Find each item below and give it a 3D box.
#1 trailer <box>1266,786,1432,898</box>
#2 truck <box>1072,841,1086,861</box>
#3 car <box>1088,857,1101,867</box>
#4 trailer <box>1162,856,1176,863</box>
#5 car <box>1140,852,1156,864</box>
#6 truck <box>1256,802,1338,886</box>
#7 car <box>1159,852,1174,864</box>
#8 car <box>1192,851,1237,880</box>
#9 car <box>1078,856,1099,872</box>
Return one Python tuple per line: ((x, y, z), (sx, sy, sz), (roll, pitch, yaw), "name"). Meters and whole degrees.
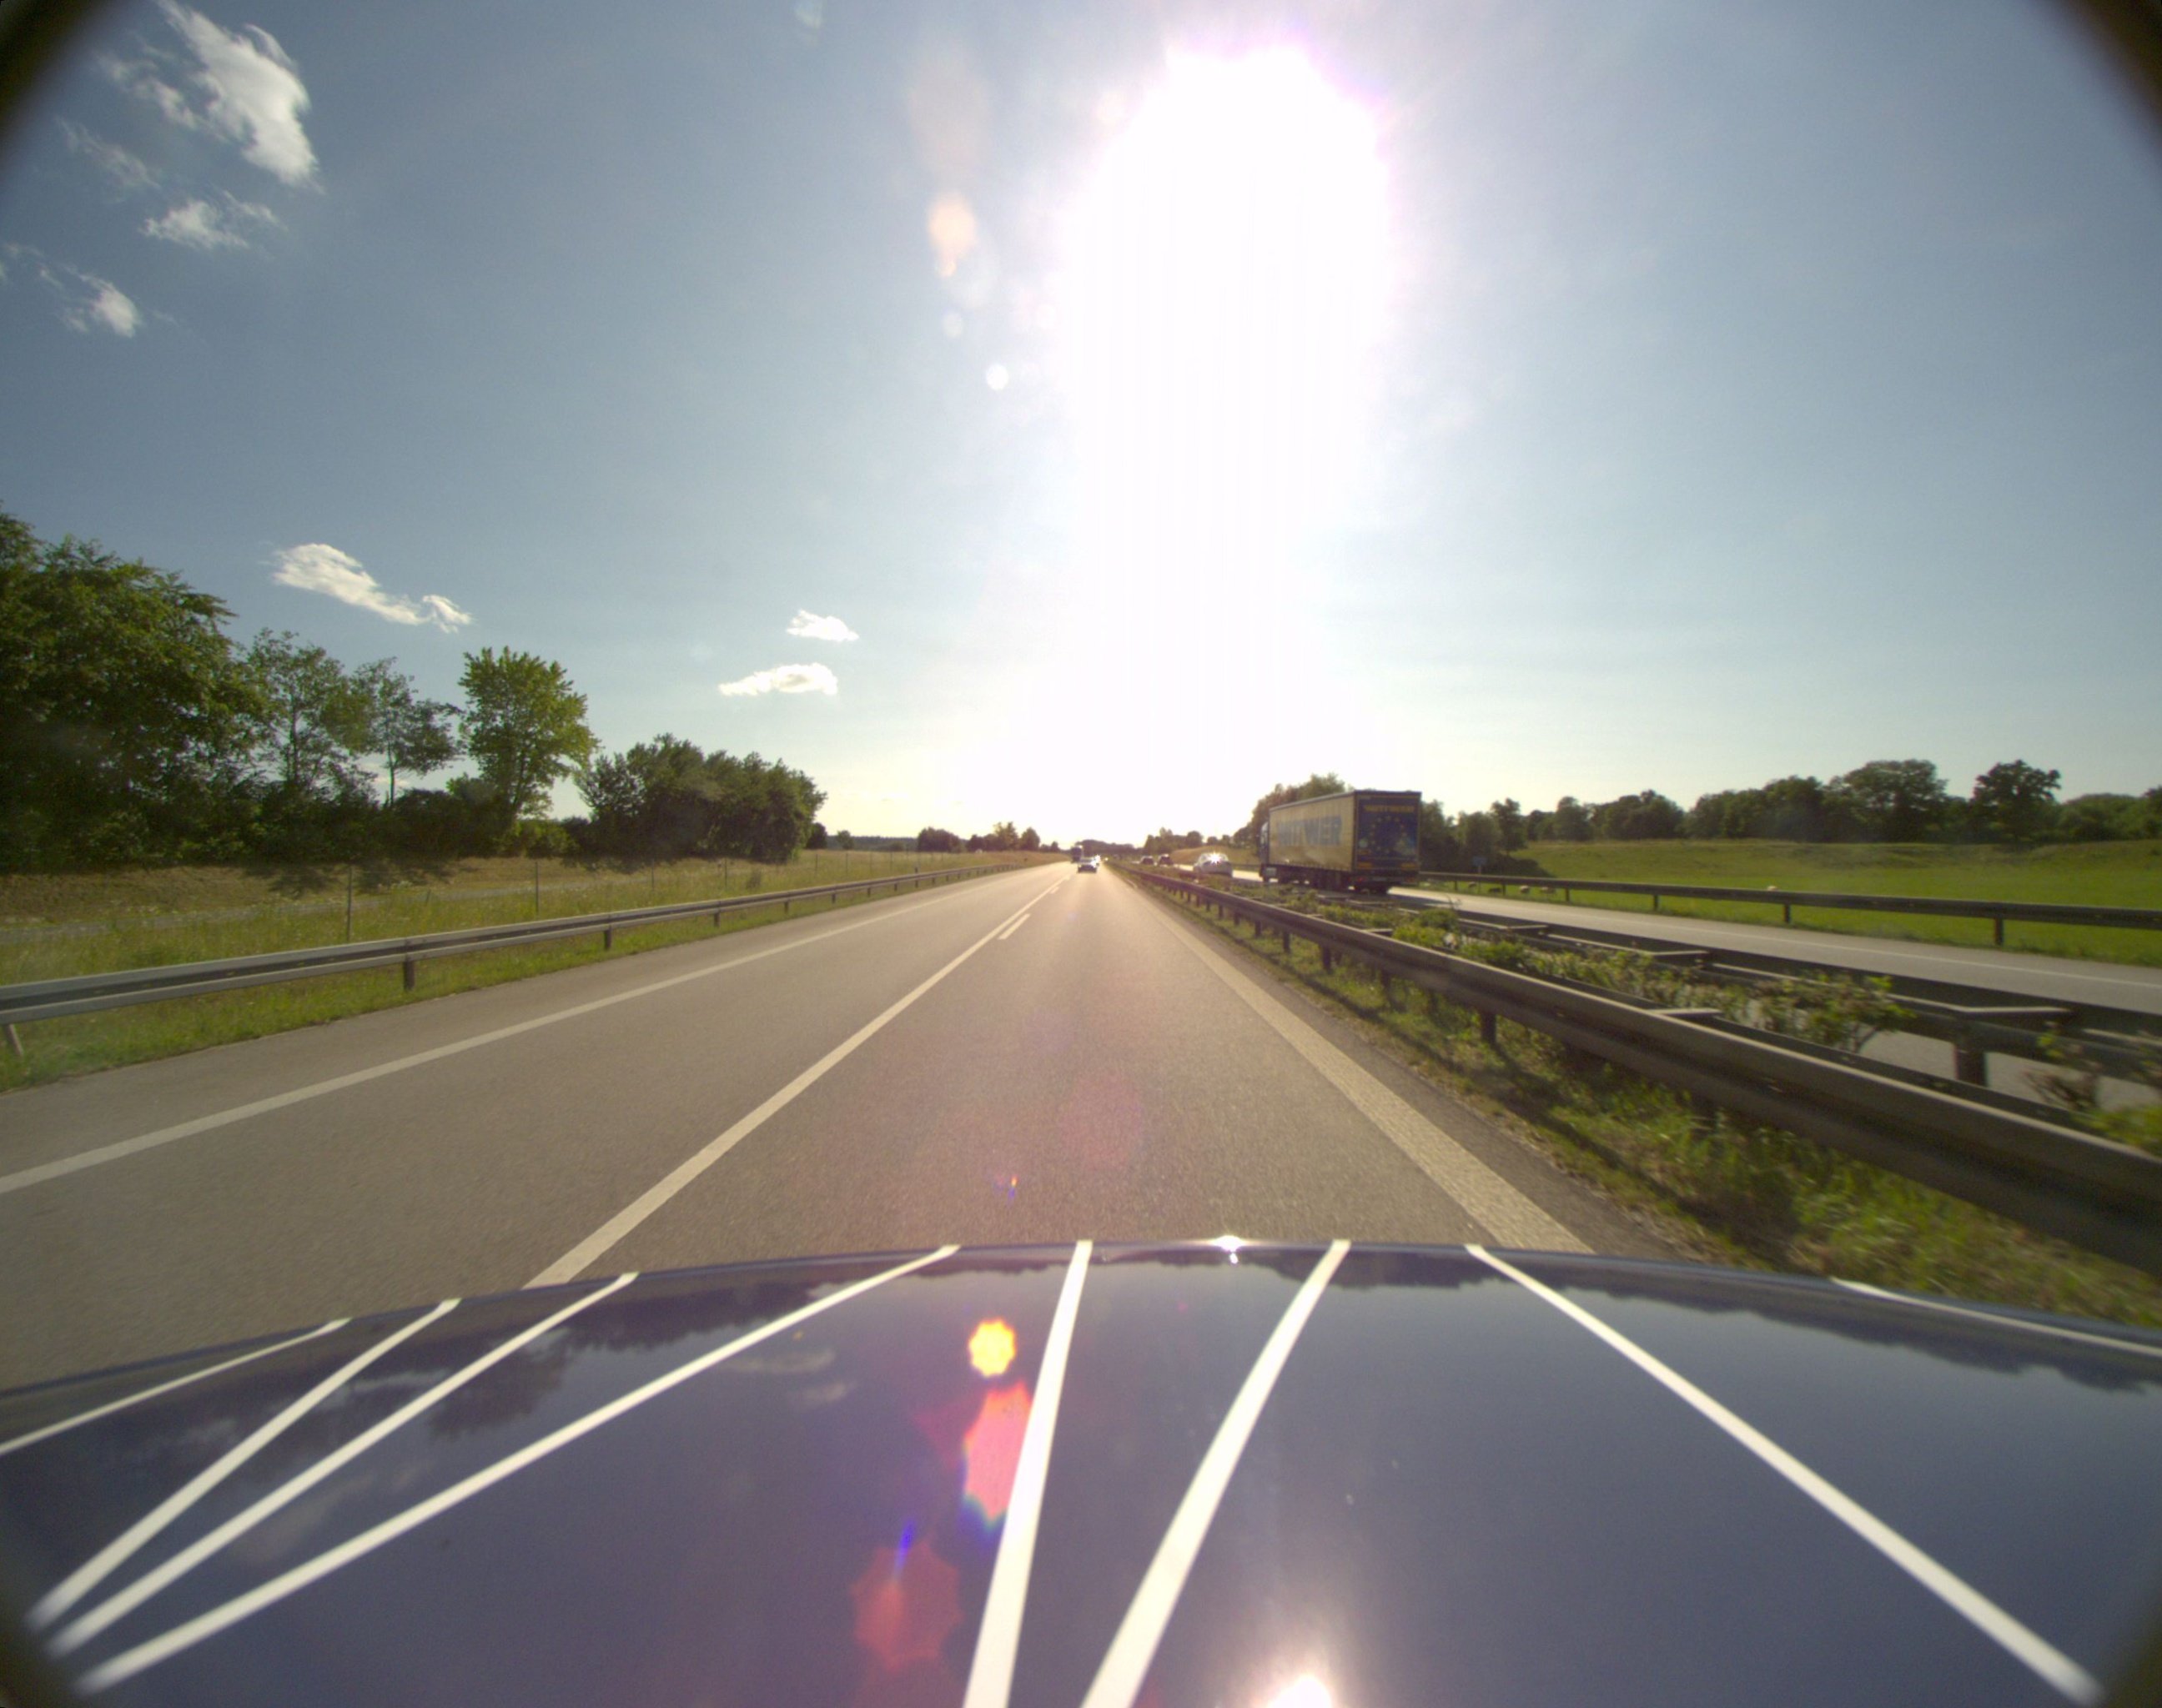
((11.754, -0.464, 35.602), (2.794, 4.136, 14.393), (0, 0, 1), "trailer")
((-0.439, -0.659, 170.383), (2.536, 4.228, 11.267), (0, 0, 2), "truck")
((2.213, 1.311, 124.800), (1.998, 1.652, 4.000), (2, 0, 1), "car")
((13.093, 0.826, 112.922), (1.746, 0.931, 4.020), (1, 0, 1), "trailer")
((8.789, 0.523, 99.546), (1.685, 1.451, 4.925), (1, 1, 0), "car")
((11.825, -0.538, 42.160), (2.747, 4.277, 6.334), (0, 0, 0), "truck")
((13.181, 0.590, 117.313), (1.854, 1.793, 4.871), (2, 0, 1), "car")
((8.164, 0.650, 46.855), (1.998, 1.655, 4.633), (1, 0, 0), "car")
((0.788, 0.958, 73.820), (1.870, 1.514, 4.284), (1, 0, 2), "car")
